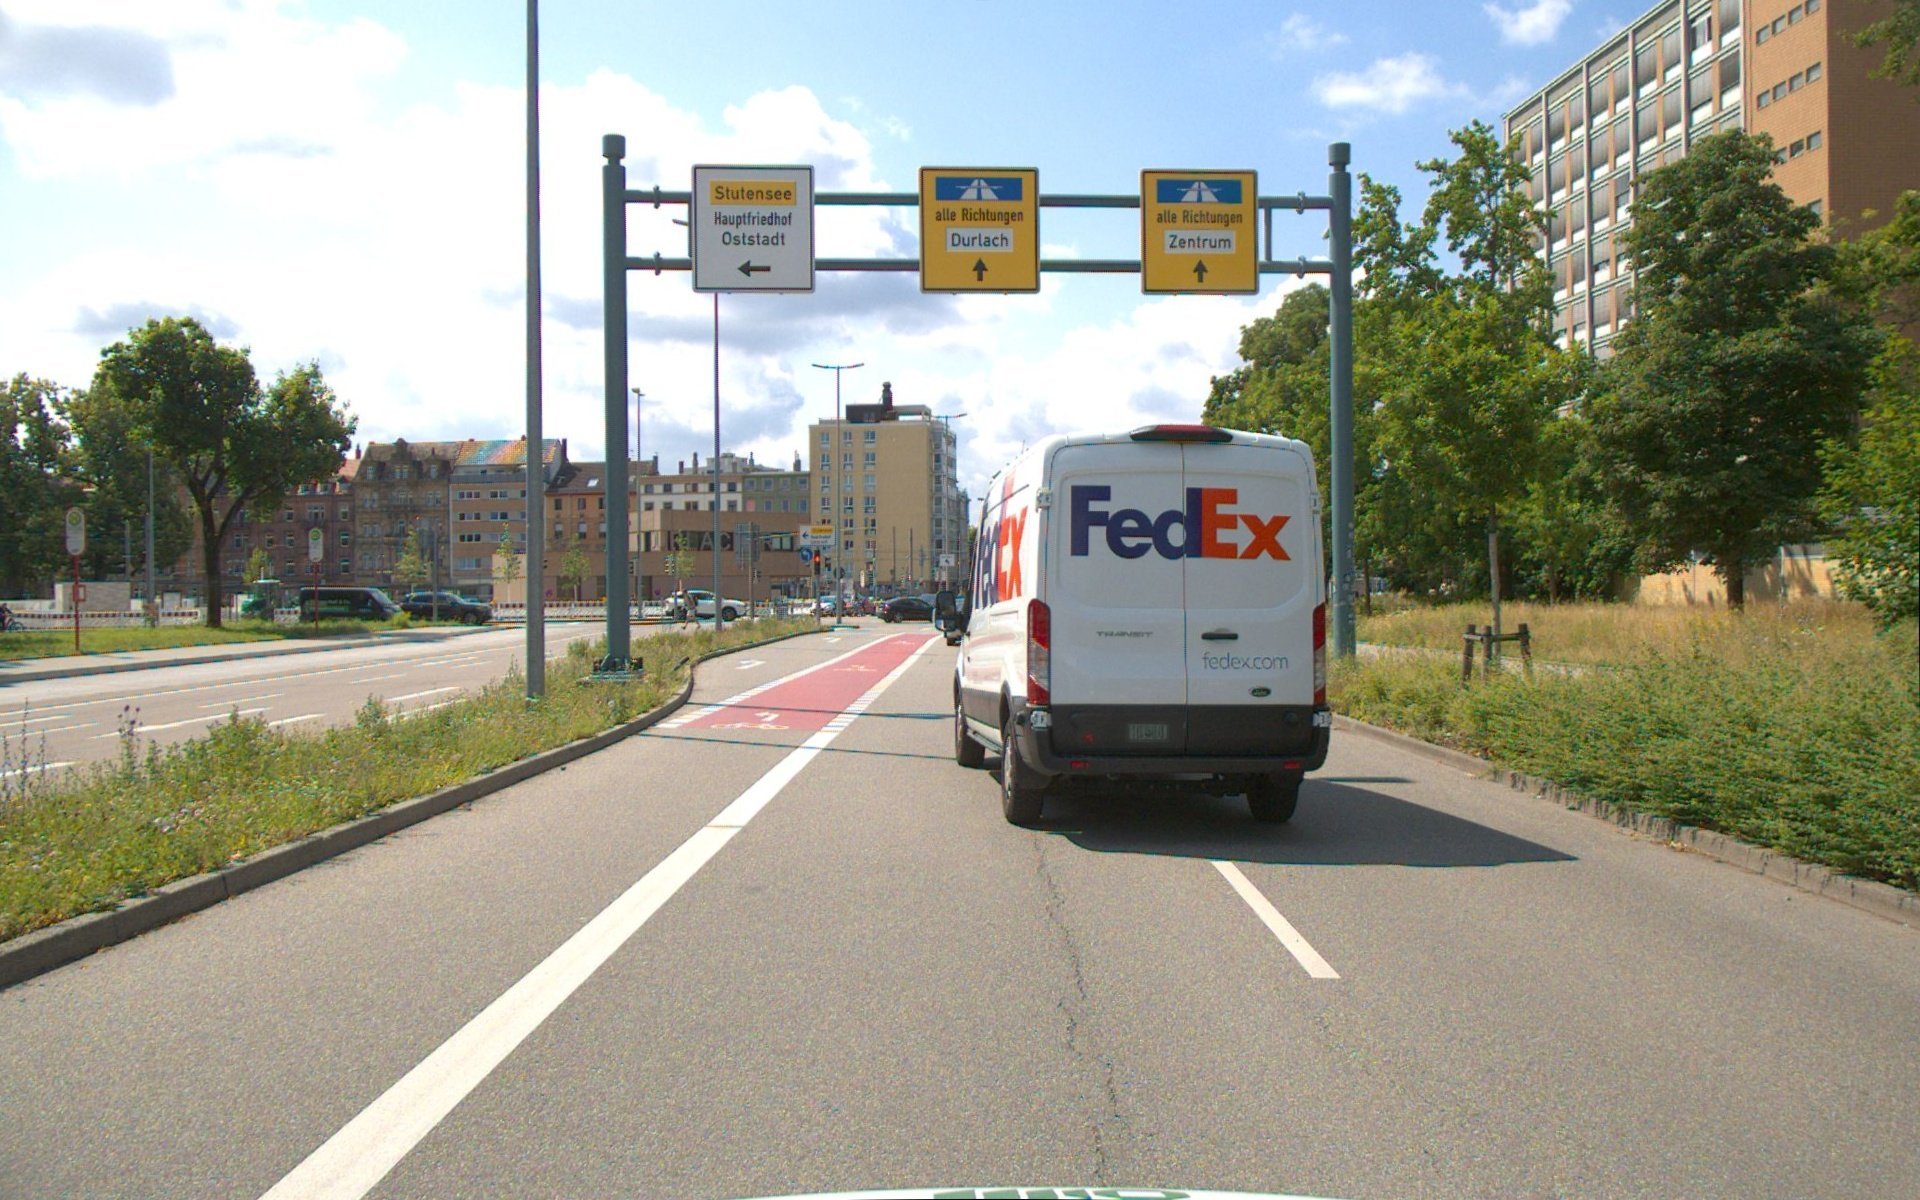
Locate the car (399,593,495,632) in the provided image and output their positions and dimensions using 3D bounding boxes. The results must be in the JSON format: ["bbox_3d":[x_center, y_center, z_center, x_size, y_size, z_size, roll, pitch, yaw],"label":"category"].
[{"bbox_3d":[-27.427,0.660,88.581,4.538,2.049,2.097,0,-1,-5],"label":"car"}]

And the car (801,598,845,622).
[{"bbox_3d":[-9.552,0.702,115.258,1.860,1.613,4.003,-1,-1,14],"label":"car"}]

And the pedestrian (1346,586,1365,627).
[{"bbox_3d":[20.379,0.316,85.235,0.828,2.094,0.740,0,0,28],"label":"pedestrian"}]

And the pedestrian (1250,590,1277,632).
[{"bbox_3d":[11.320,0.417,61.753,0.827,1.566,0.835,0,0,-1],"label":"pedestrian"}]

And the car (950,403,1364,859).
[{"bbox_3d":[1.171,0.164,12.722,2.098,2.699,5.699,0,0,-4],"label":"car"}]

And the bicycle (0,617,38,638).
[{"bbox_3d":[-48.562,1.430,85.069,1.884,1.048,0.547,0,0,-8],"label":"bicycle"}]

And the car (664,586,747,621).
[{"bbox_3d":[-13.678,0.214,89.182,4.272,1.825,1.998,0,-1,-5],"label":"car"}]

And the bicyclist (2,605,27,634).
[{"bbox_3d":[-48.626,1.001,85.059,0.949,1.500,0.550,0,0,-8],"label":"bicyclist"}]

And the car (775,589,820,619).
[{"bbox_3d":[-11.437,0.285,116.577,1.951,2.049,4.003,-1,-1,14],"label":"car"}]

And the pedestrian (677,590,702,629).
[{"bbox_3d":[-11.195,0.392,68.443,0.863,1.587,0.550,0,0,-29],"label":"pedestrian"}]

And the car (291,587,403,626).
[{"bbox_3d":[-30.807,0.306,83.212,4.909,1.911,1.927,0,0,-4],"label":"car"}]

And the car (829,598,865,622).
[{"bbox_3d":[-8.262,0.749,121.454,1.839,1.681,4.003,-1,-1,8],"label":"car"}]

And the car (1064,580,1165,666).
[{"bbox_3d":[3.369,0.470,36.766,1.775,1.764,4.388,1,0,0],"label":"car"}]
